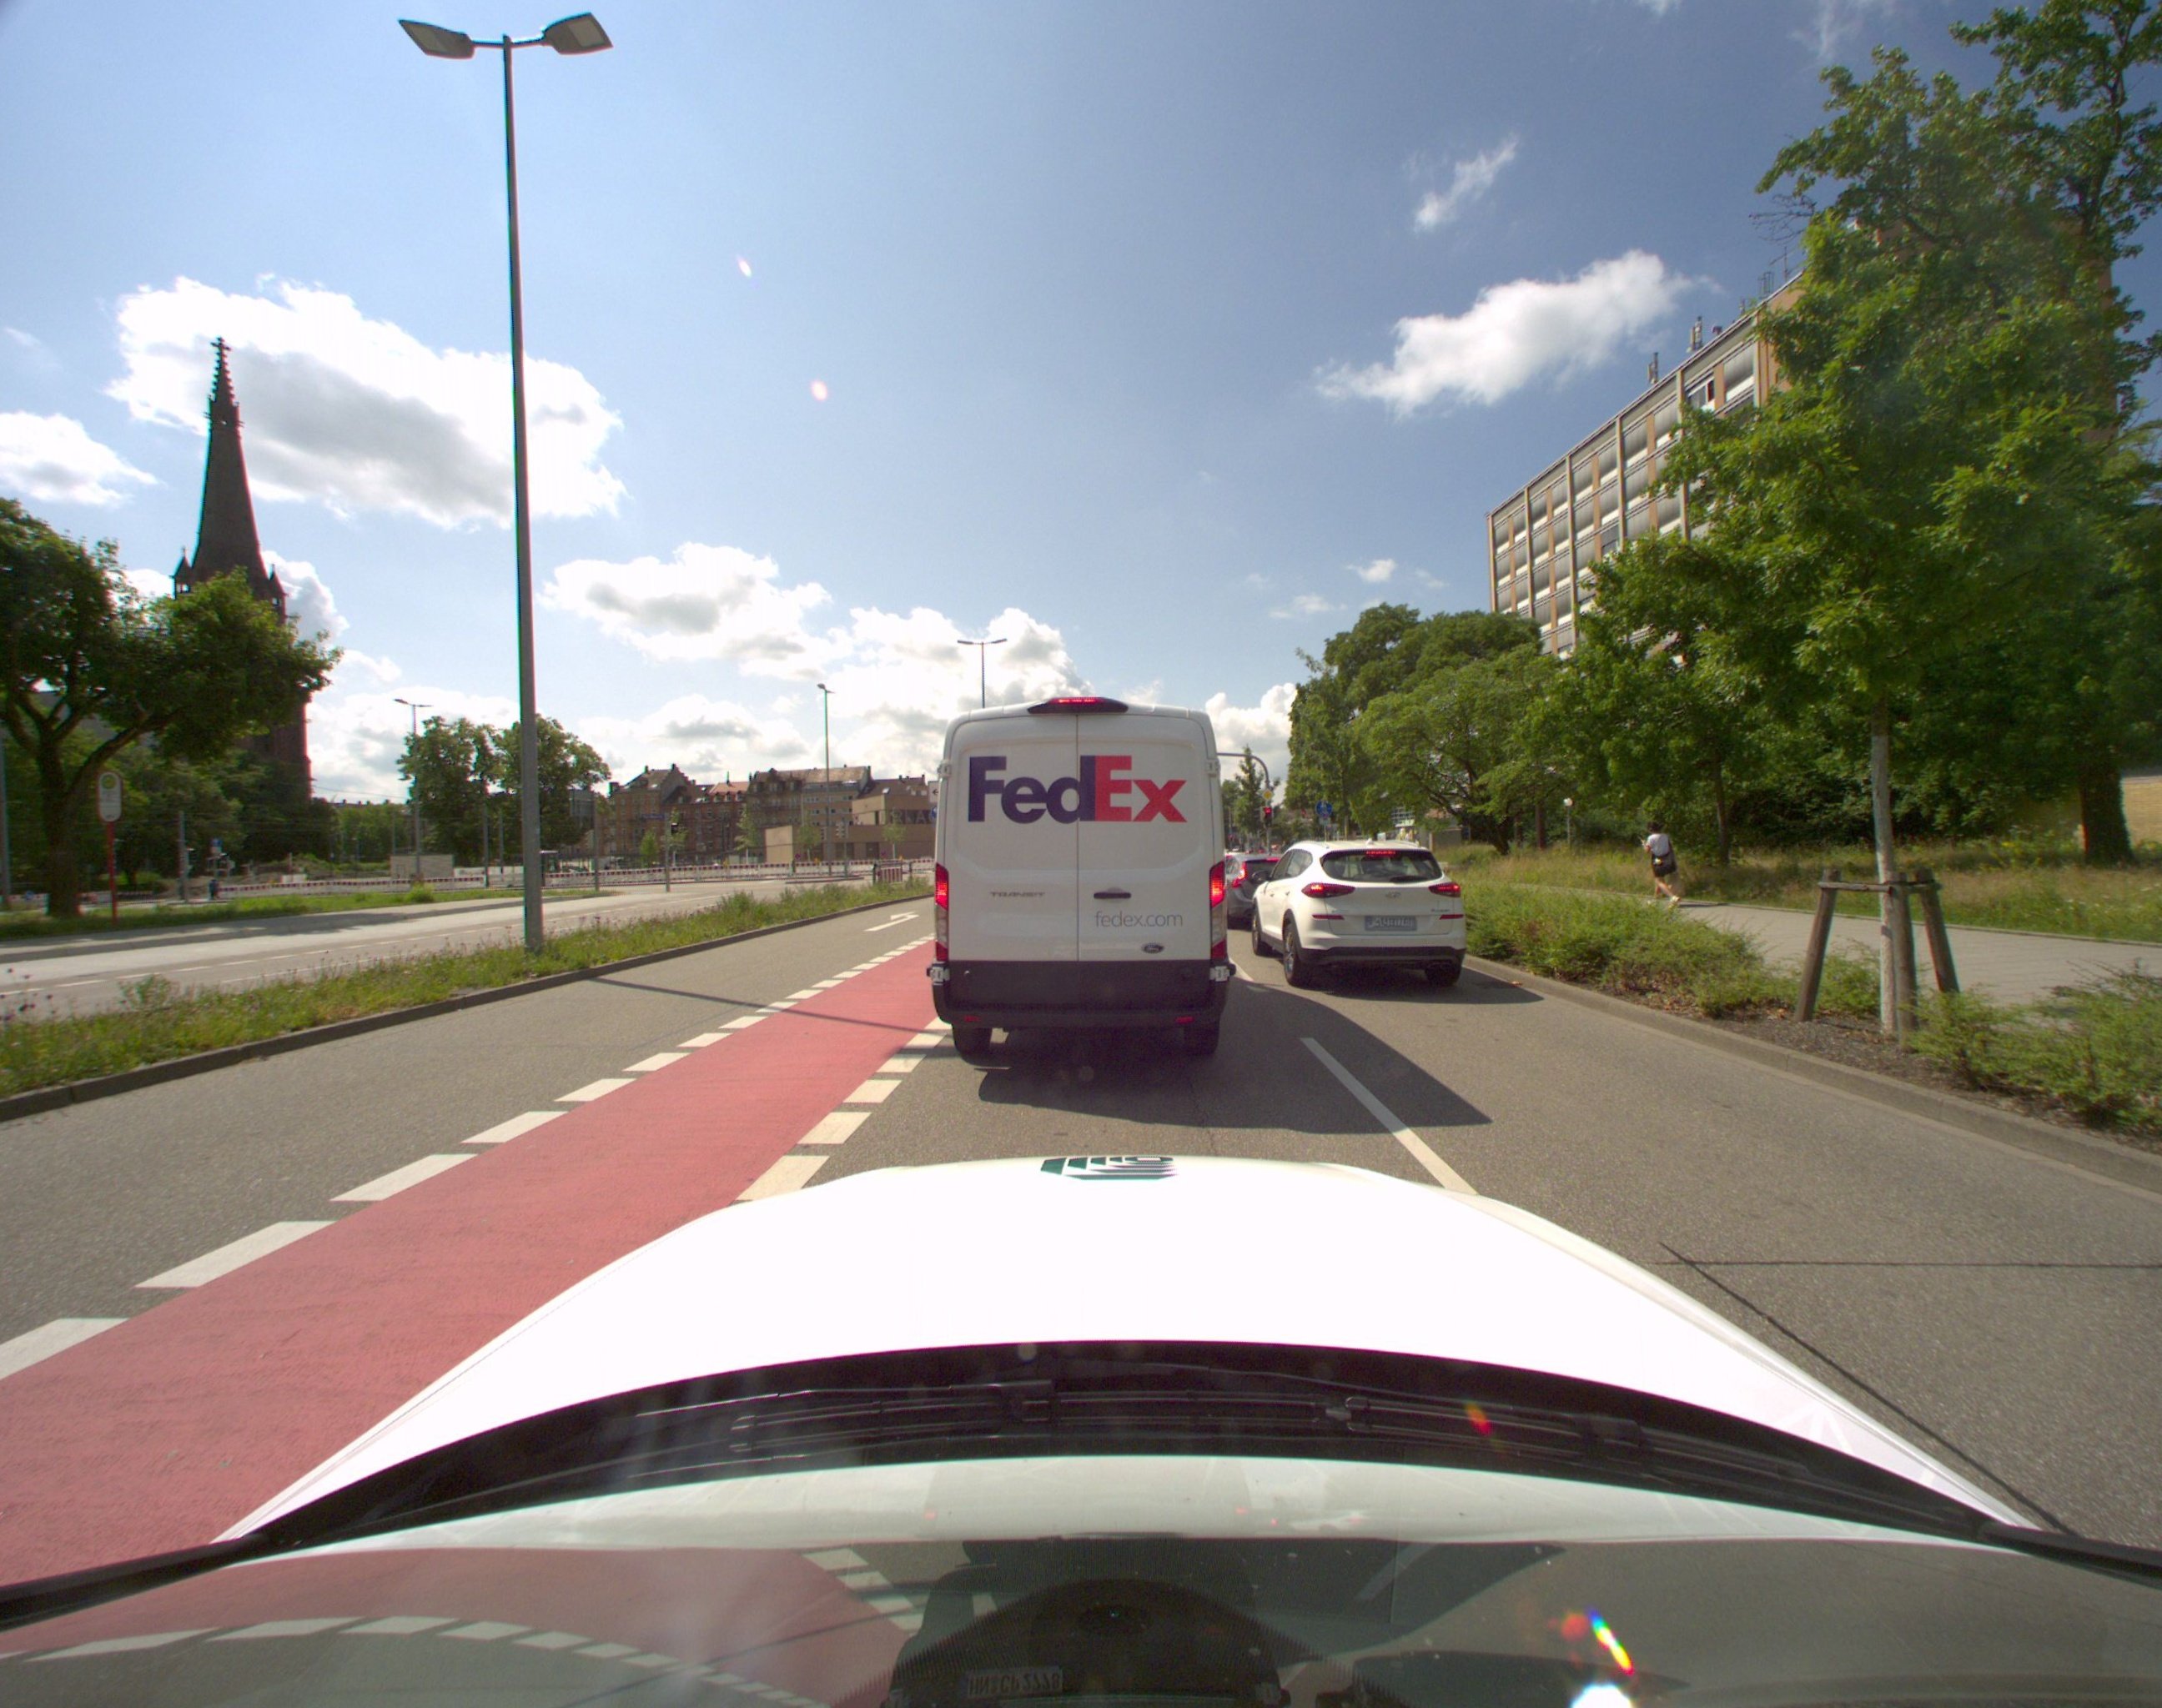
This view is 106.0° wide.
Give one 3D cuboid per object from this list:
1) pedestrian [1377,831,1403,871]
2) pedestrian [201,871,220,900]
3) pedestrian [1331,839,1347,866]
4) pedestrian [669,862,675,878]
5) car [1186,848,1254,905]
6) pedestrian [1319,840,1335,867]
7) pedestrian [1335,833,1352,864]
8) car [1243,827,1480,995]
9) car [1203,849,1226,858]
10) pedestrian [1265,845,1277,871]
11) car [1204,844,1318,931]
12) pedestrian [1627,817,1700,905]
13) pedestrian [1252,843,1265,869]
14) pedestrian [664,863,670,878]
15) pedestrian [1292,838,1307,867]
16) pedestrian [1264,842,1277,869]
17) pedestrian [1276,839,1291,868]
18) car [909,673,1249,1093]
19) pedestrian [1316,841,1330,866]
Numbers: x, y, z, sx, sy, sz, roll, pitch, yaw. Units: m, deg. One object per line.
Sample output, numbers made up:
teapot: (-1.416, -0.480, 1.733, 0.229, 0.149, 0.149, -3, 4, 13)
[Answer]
pedestrian: (12.874, -0.124, 33.948, 0.755, 1.655, 0.817, -2, 0, 5)
pedestrian: (-60.891, 2.206, 56.971, 0.644, 2.013, 0.632, -2, 0, -1)
pedestrian: (17.716, -0.096, 55.916, 0.758, 1.849, 0.814, -2, 0, -6)
pedestrian: (-44.059, 1.742, 87.649, 0.420, 1.652, 0.420, -1, -1, 36)
car: (3.907, 0.581, 23.339, 1.493, 1.464, 3.477, -2, 0, 3)
pedestrian: (16.797, -0.033, 55.657, 0.758, 1.849, 0.814, -2, 0, -8)
pedestrian: (15.168, -0.315, 47.058, 0.755, 1.789, 0.818, -2, 0, 7)
car: (3.261, 0.571, 10.338, 1.807, 1.678, 3.978, -2, 0, 3)
car: (26.159, -0.130, 159.141, 4.217, 1.498, 1.741, -2, 0, 1)
pedestrian: (13.715, 0.311, 58.888, 0.753, 1.849, 0.820, -2, 0, 16)
car: (3.594, 0.605, 16.856, 1.684, 1.549, 3.724, -2, 0, 3)
pedestrian: (10.770, 0.128, 15.087, 0.756, 1.557, 0.817, -2, 0, 2)
pedestrian: (13.043, 0.120, 59.808, 0.810, 1.849, 0.762, -2, 0, 5)
pedestrian: (-44.801, 1.751, 88.094, 0.420, 1.652, 0.420, -1, -1, 36)
pedestrian: (14.065, -0.086, 52.491, 0.755, 1.849, 0.817, -2, 0, 5)
pedestrian: (13.153, 0.121, 56.544, 0.752, 1.849, 0.820, -2, 0, 20)
pedestrian: (12.983, -0.024, 52.340, 0.755, 1.849, 0.817, -2, 0, 3)
car: (0.111, 0.174, 7.327, 2.064, 2.581, 4.432, -2, 0, 3)
pedestrian: (18.480, -0.018, 62.207, 0.756, 1.849, 0.817, -2, 0, 2)
